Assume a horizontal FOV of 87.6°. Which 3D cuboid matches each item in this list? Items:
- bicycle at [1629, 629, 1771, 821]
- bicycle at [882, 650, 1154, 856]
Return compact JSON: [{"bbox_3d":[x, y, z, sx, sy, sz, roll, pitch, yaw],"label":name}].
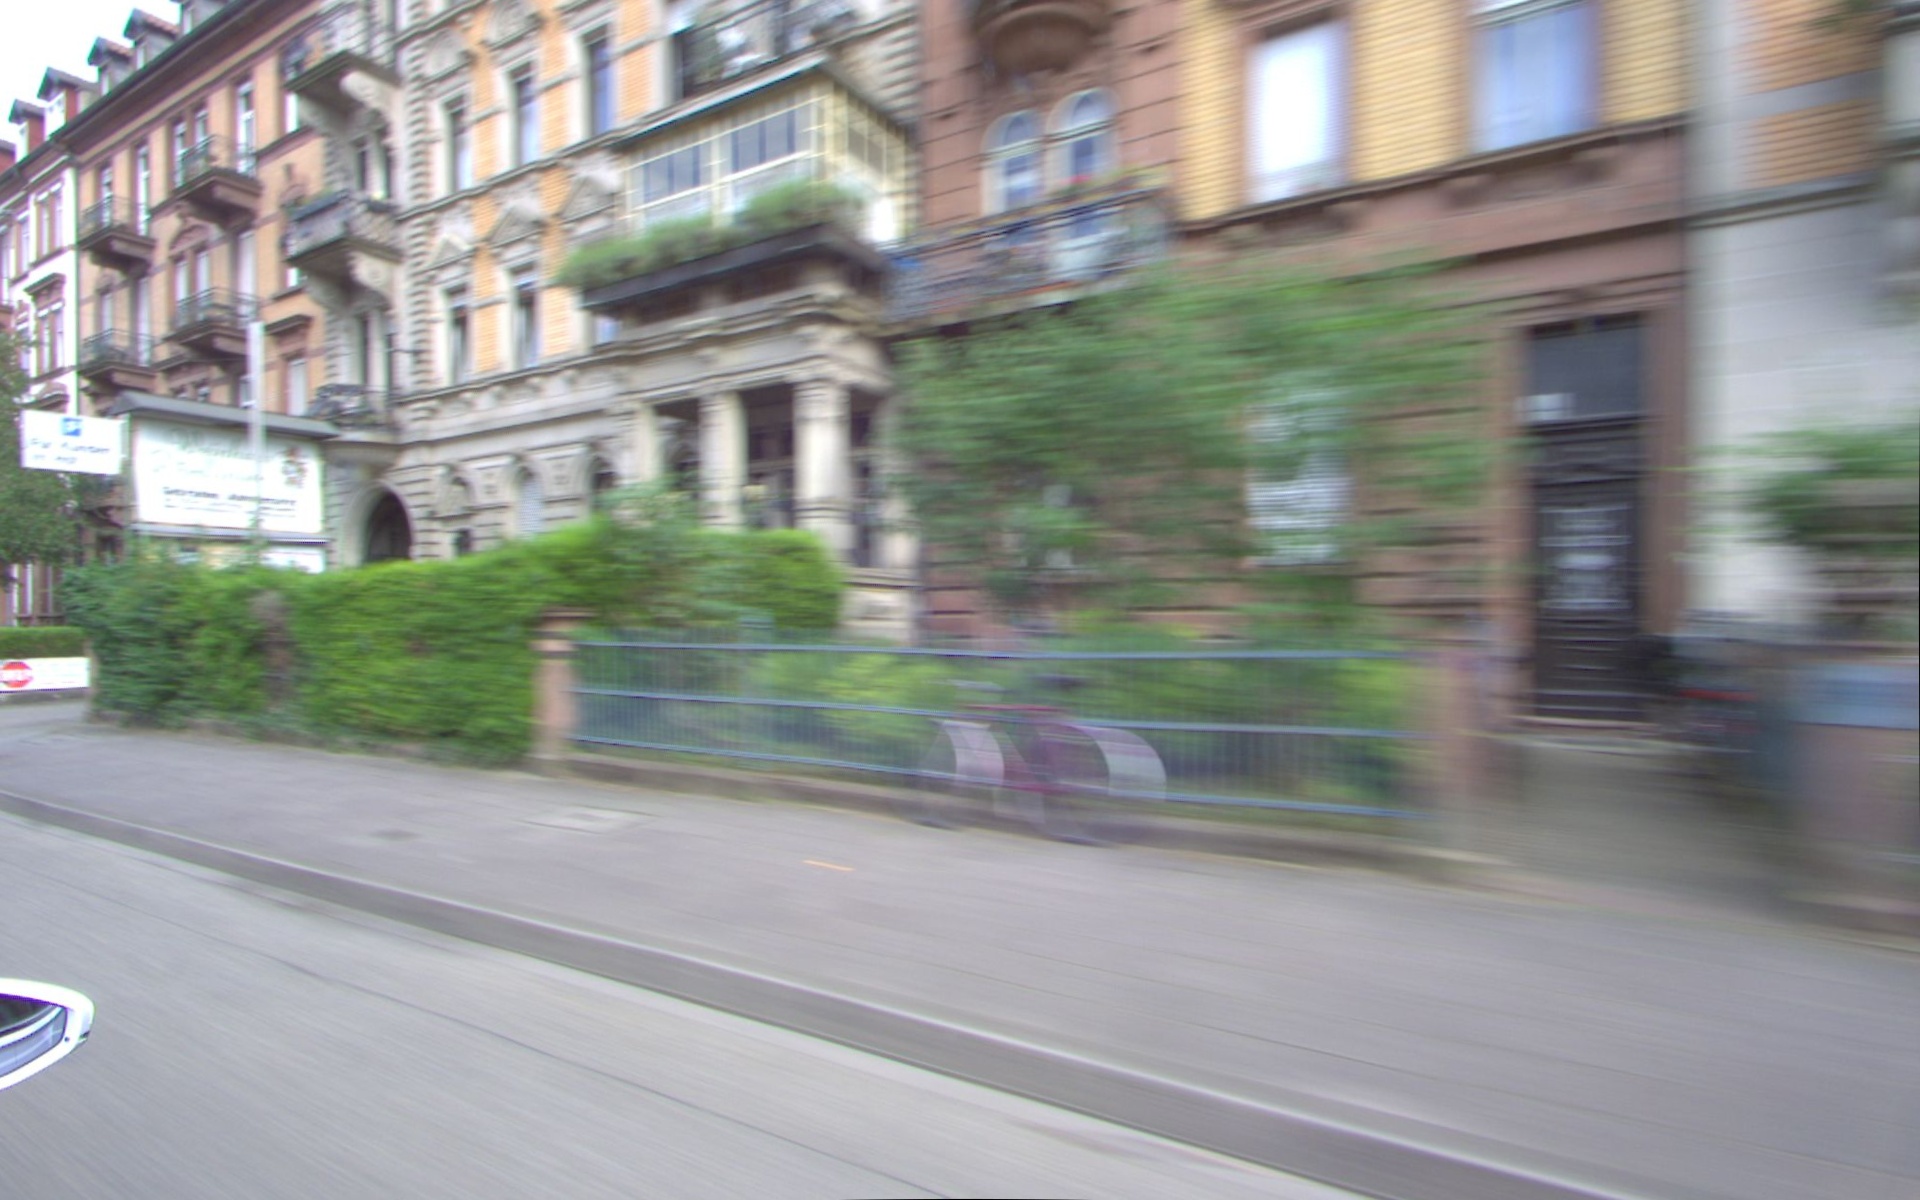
[{"bbox_3d":[5.041,0.777,6.903,0.602,1.126,1.664,0,0,30],"label":"bicycle"},{"bbox_3d":[0.341,0.897,6.331,1.648,1.126,0.578,-1,0,31],"label":"bicycle"}]
